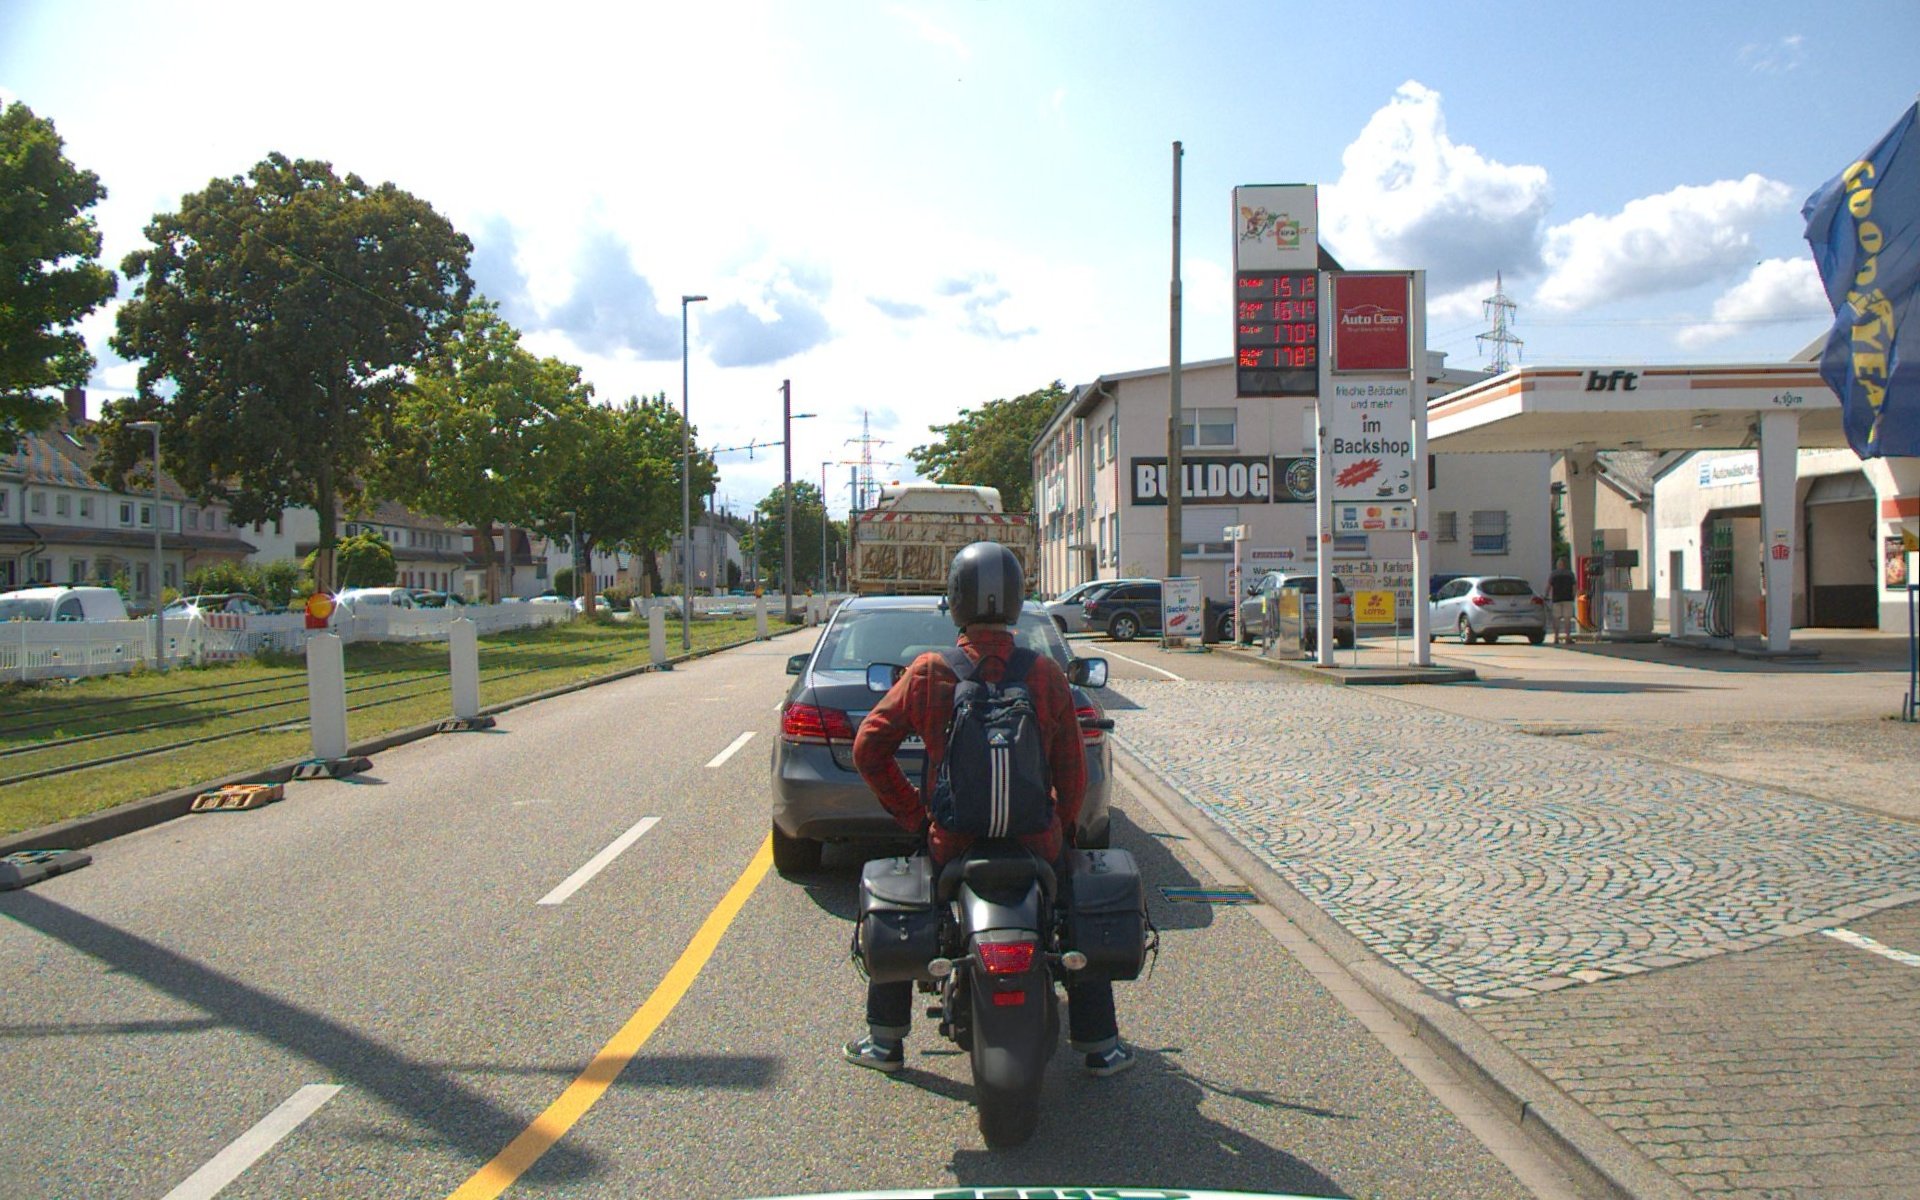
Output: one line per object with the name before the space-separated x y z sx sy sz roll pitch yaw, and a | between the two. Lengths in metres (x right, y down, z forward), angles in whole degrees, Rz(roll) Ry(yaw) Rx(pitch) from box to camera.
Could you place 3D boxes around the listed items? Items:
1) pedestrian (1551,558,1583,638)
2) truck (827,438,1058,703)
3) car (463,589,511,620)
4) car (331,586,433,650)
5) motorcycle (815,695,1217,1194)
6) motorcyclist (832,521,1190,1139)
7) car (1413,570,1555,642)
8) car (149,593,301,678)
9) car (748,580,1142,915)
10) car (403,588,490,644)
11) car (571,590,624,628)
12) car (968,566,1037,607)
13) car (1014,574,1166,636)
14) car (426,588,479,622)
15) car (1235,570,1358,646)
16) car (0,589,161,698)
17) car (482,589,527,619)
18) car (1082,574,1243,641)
pedestrian | 13.137 -0.043 35.794 0.621 1.712 0.622 -1 0 20
truck | -0.354 -0.419 25.472 2.910 3.362 8.404 -1 0 -2
car | -28.057 0.266 98.149 1.664 1.770 4.061 -1 0 -1
car | -16.931 0.498 48.618 1.664 1.770 3.860 -1 0 -1
motorcycle | 0.119 0.902 5.197 0.956 1.031 2.431 1 0 -1
motorcyclist | 0.130 0.619 5.078 0.950 1.662 1.214 1 0 -1
car | 11.775 0.107 37.422 1.795 1.505 4.008 -1 0 -2
car | -16.670 0.761 37.721 1.664 1.770 4.053 -1 0 -1
car | -0.128 0.665 9.671 1.795 1.505 4.008 -1 0 -2
car | -17.016 0.502 54.984 1.664 1.770 3.860 -1 0 -1
car | -17.410 0.411 79.543 1.664 1.770 3.860 -1 0 -1
car | 2.738 -0.871 108.118 2.181 2.609 5.320 -1 0 -29
car | 3.673 0.123 47.087 4.029 1.652 1.682 -1 0 -9
car | -28.177 0.251 91.939 1.664 1.770 4.061 -1 0 -1
car | 7.404 0.147 36.757 1.795 1.562 4.008 -1 0 -2
car | -16.416 0.746 30.297 1.664 1.849 3.860 -1 0 -1
car | -28.660 0.237 104.151 1.664 1.770 4.061 -1 0 -1
car | 5.324 0.189 43.865 4.022 1.652 1.685 -1 0 -1
